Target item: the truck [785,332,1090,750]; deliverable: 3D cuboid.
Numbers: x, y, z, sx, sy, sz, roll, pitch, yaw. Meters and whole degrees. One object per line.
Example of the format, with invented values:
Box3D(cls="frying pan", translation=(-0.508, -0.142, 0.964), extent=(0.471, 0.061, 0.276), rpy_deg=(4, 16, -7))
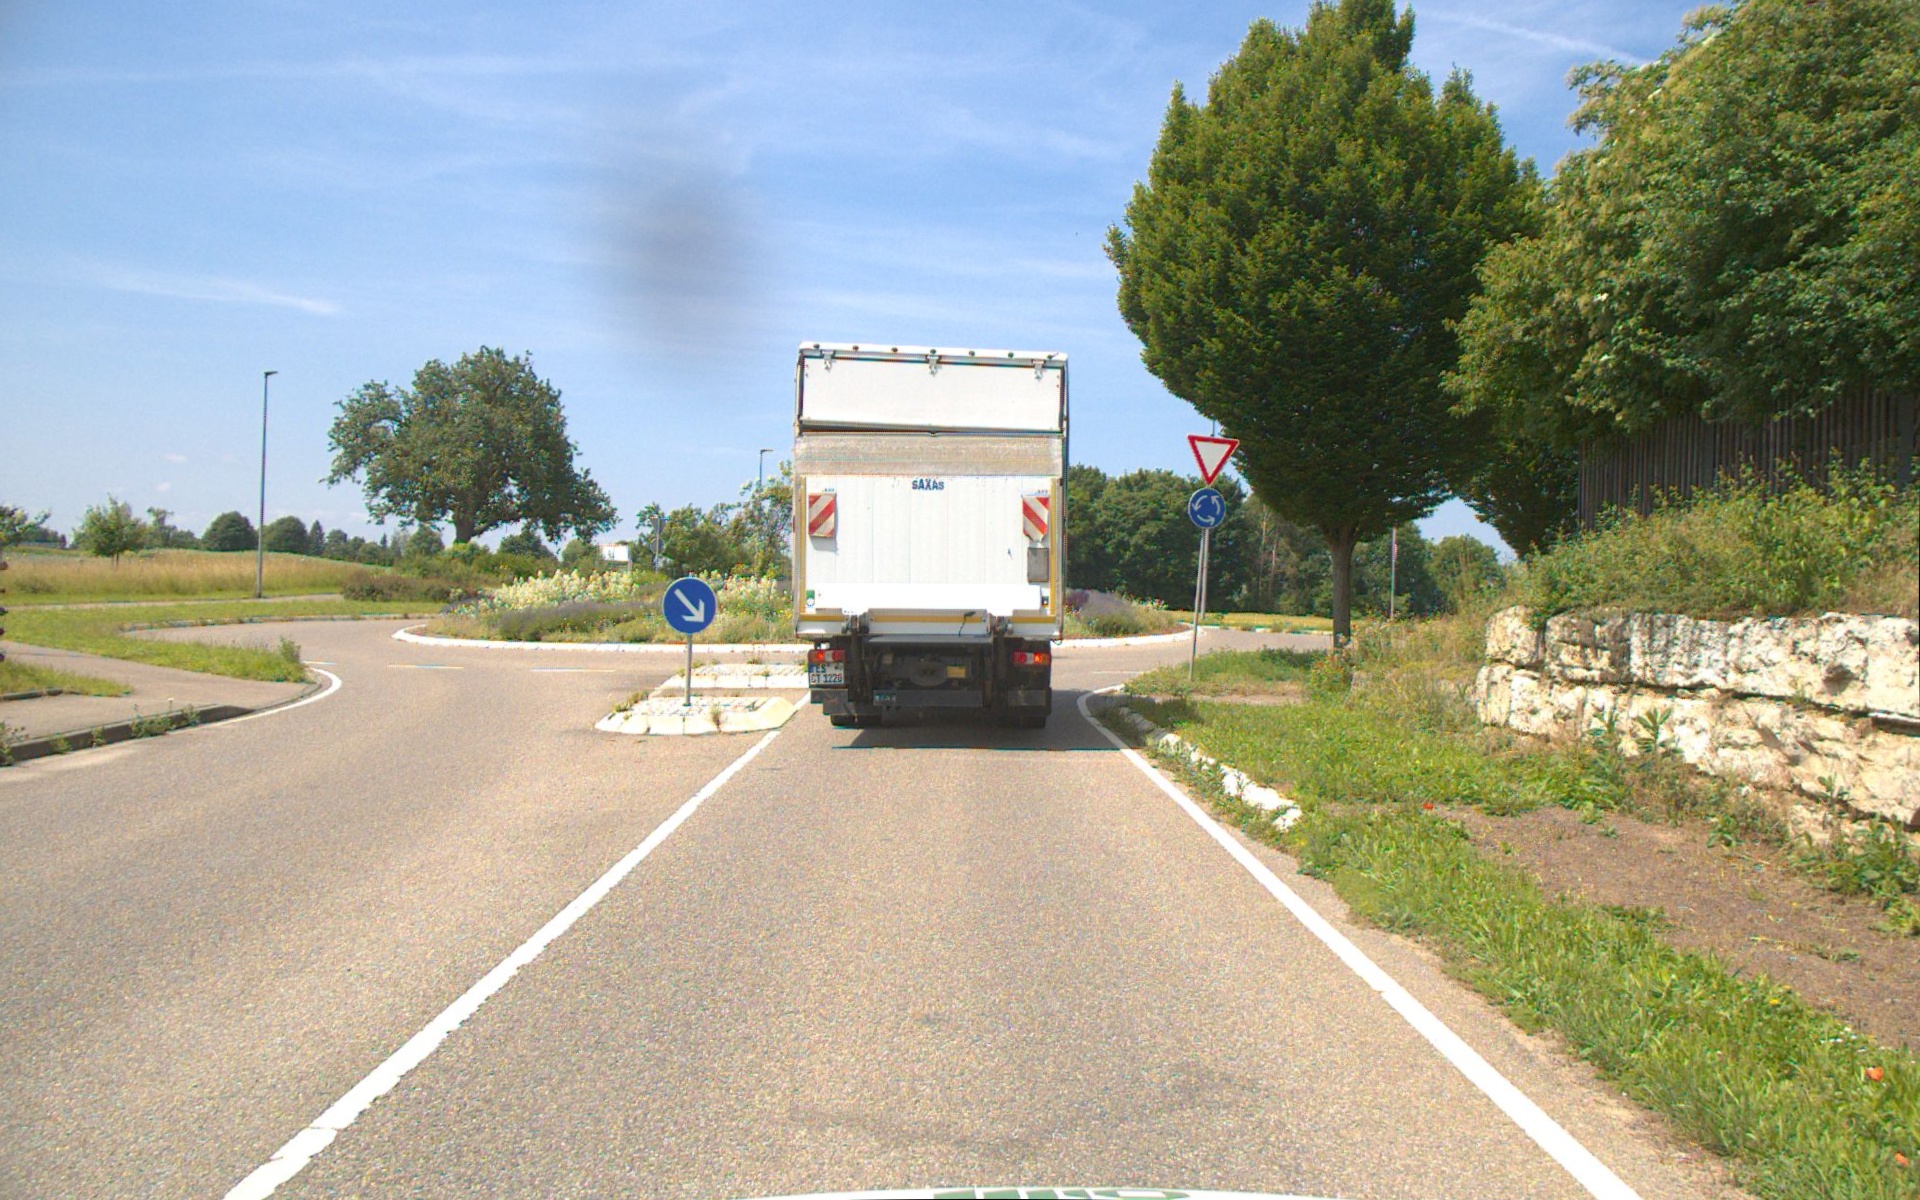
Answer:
Box3D(cls="truck", translation=(-0.316, -0.570, 19.575), extent=(2.711, 3.735, 9.380), rpy_deg=(1, 1, -1))
